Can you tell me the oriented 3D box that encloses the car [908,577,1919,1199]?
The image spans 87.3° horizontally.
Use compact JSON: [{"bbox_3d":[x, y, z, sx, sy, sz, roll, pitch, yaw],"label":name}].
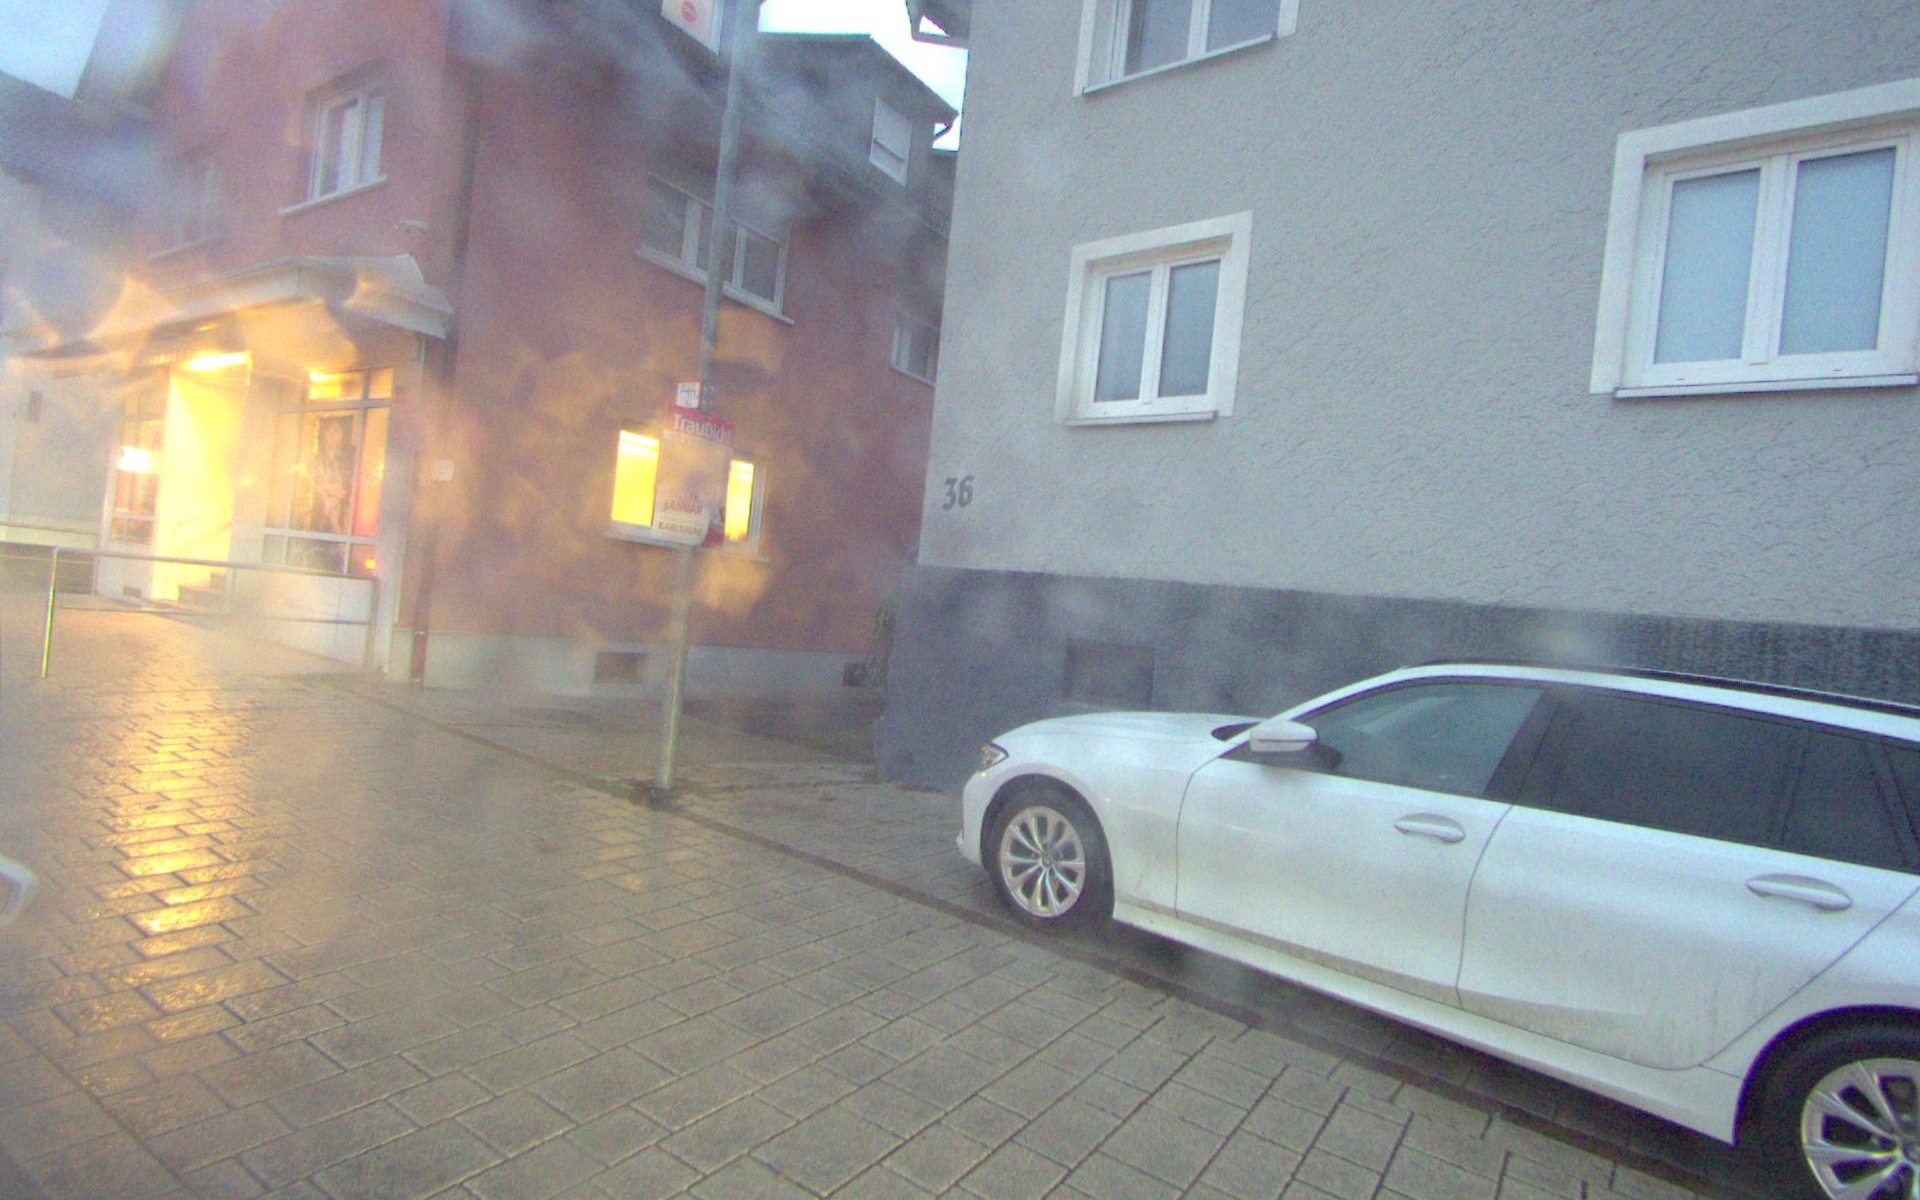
[{"bbox_3d":[2.105,0.902,3.996,4.478,1.485,1.880,7,1,41],"label":"car"}]
